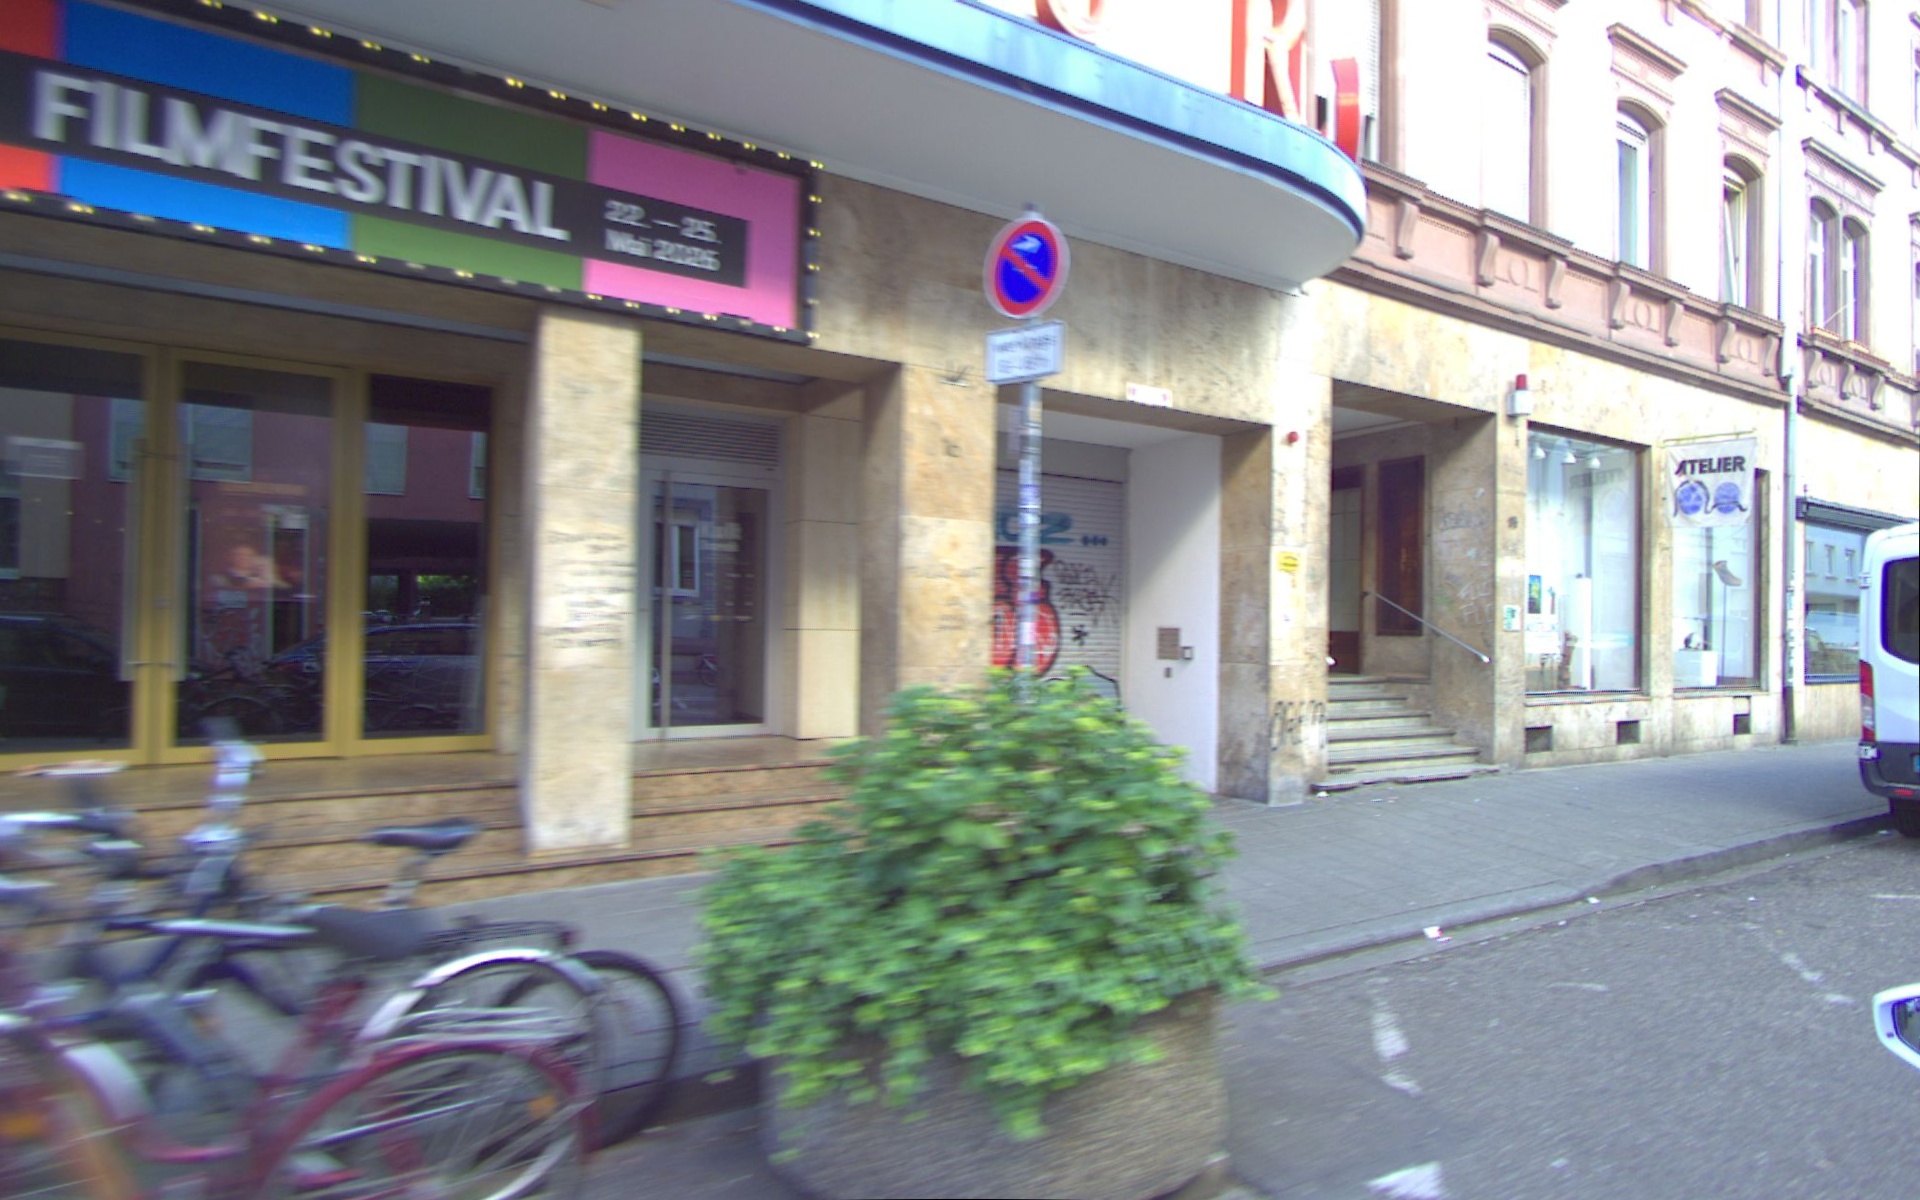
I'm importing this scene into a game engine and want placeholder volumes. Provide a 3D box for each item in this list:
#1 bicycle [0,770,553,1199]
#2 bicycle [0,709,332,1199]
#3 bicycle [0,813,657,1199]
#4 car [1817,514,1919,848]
[{"bbox_3d":[-1.845,1.066,2.266,1.653,1.189,0.396,2,0,-35],"label":"bicycle"},{"bbox_3d":[-2.436,0.907,2.472,1.475,1.189,0.336,2,0,-35],"label":"bicycle"},{"bbox_3d":[-1.530,1.035,1.774,1.846,1.061,0.439,2,0,-35],"label":"bicycle"},{"bbox_3d":[9.886,0.655,8.632,5.856,2.484,2.157,2,-3,-32],"label":"car"}]
